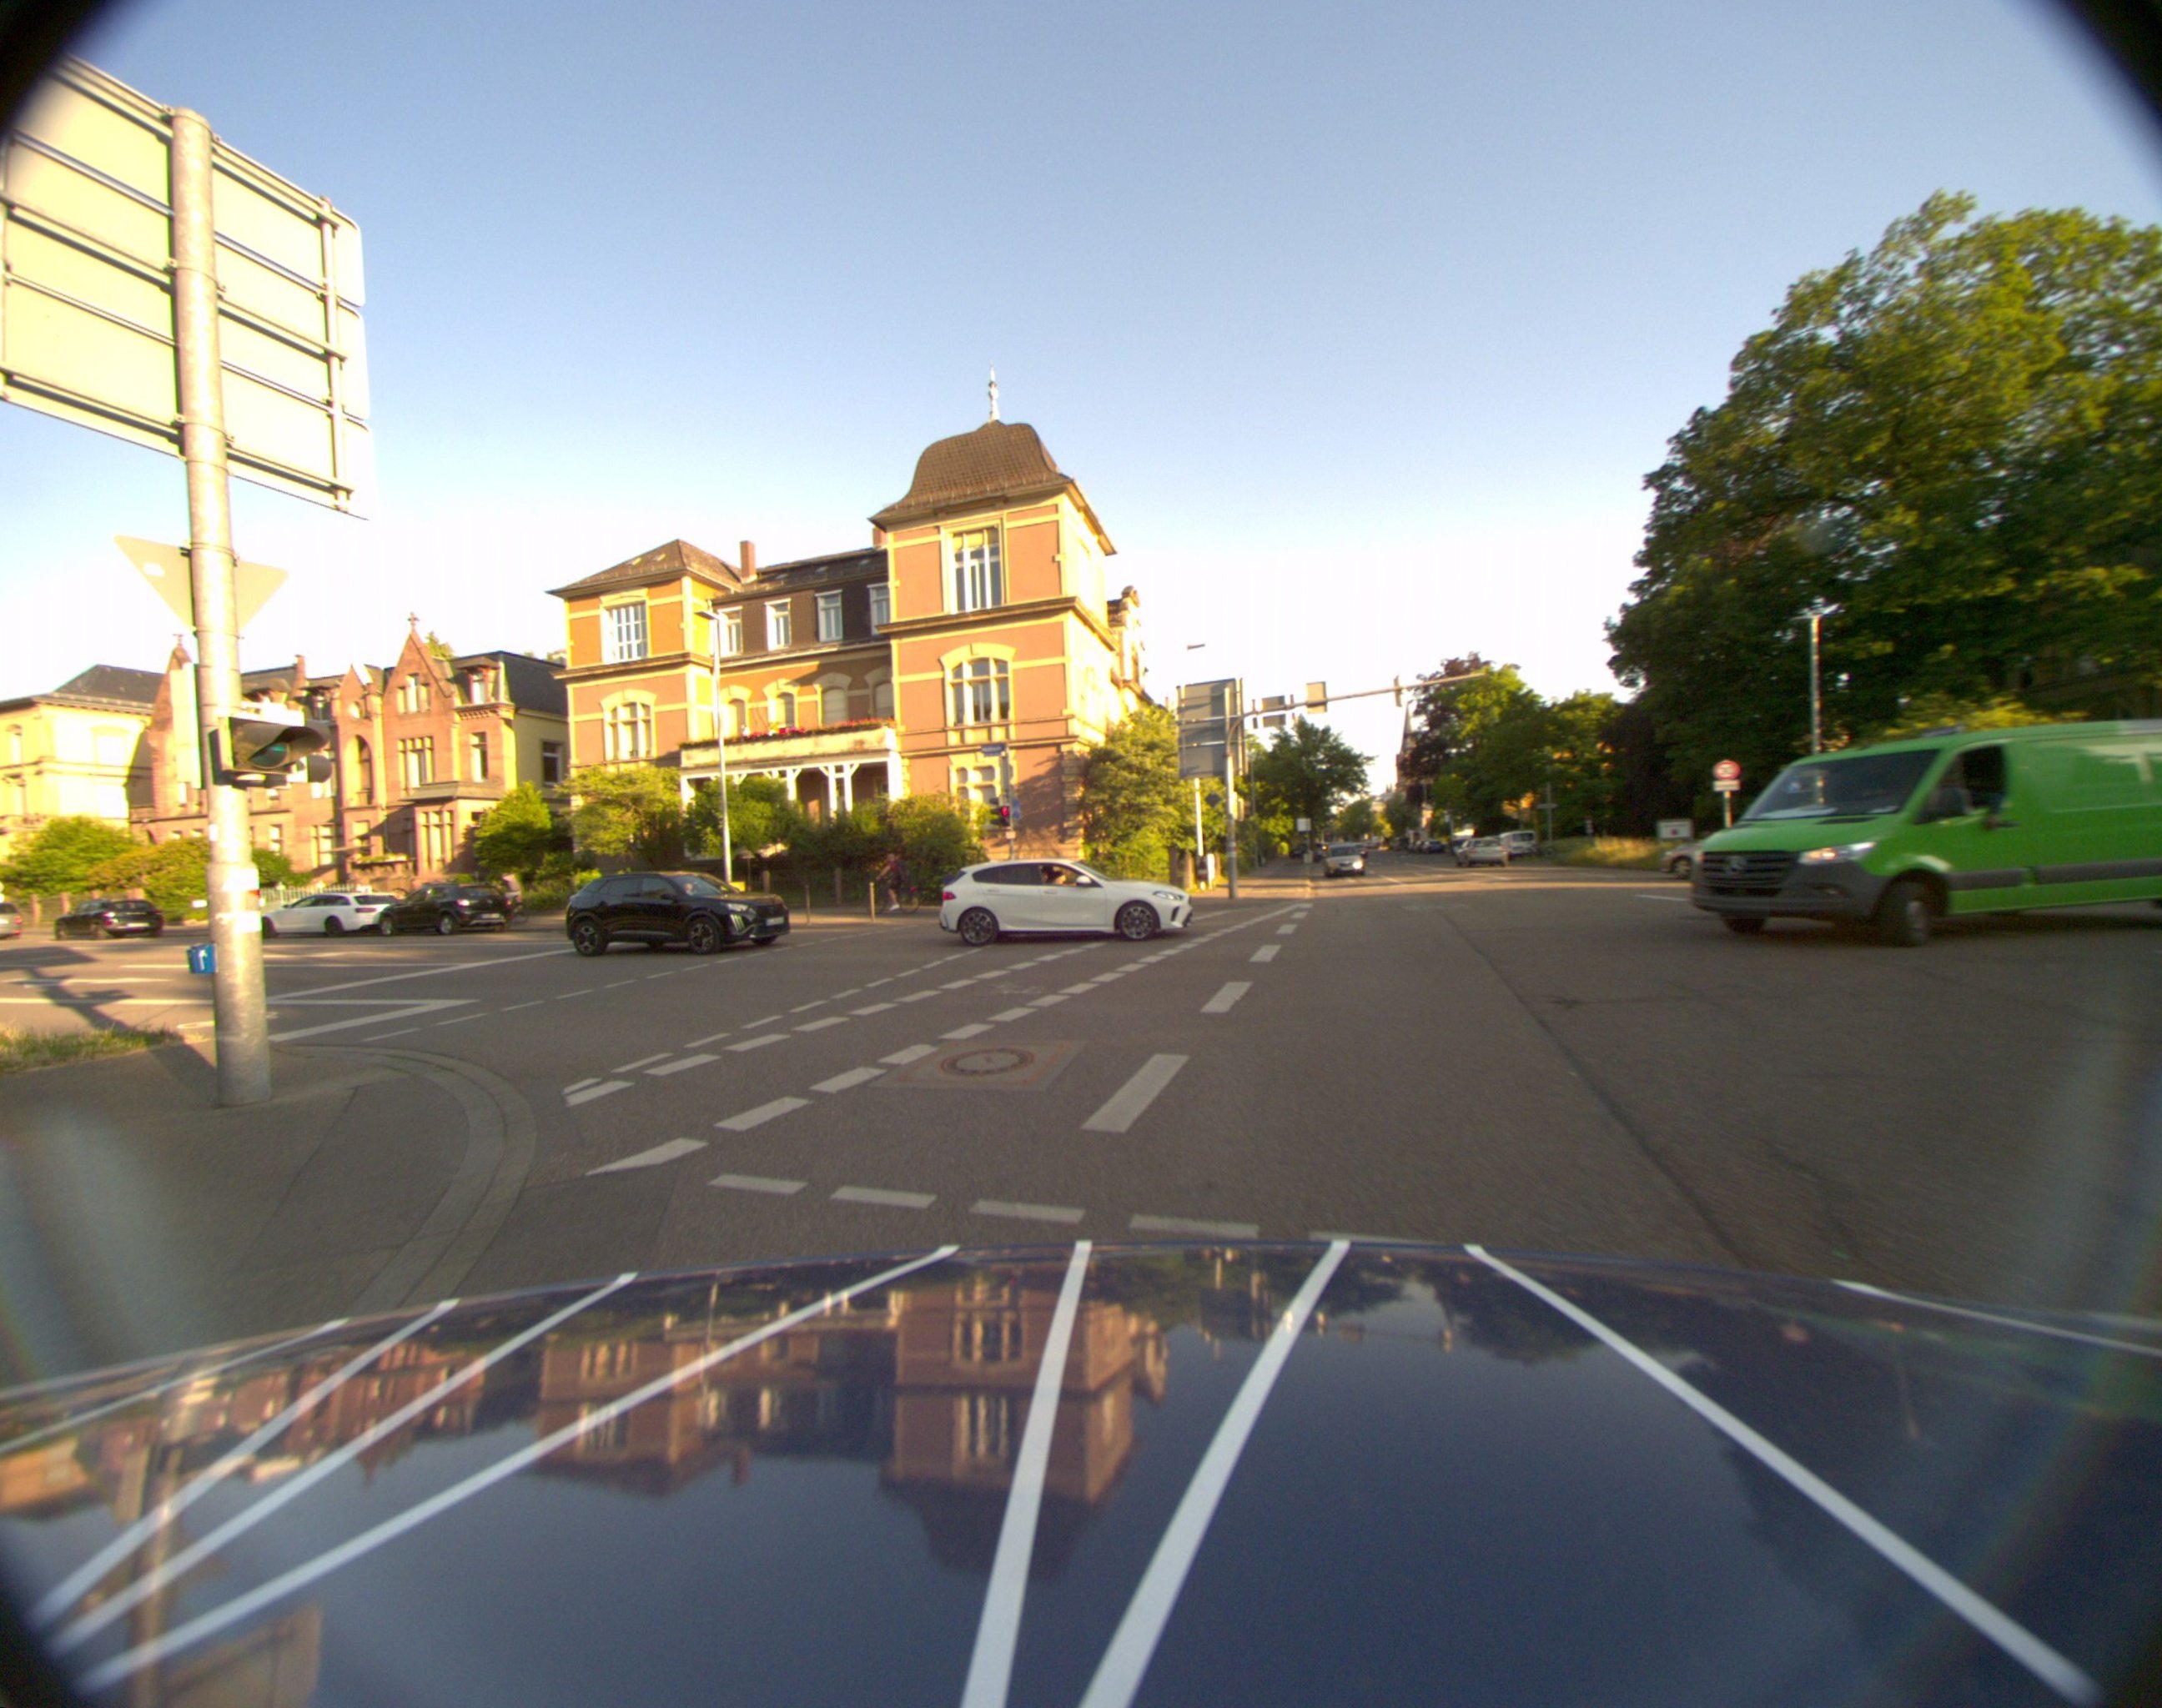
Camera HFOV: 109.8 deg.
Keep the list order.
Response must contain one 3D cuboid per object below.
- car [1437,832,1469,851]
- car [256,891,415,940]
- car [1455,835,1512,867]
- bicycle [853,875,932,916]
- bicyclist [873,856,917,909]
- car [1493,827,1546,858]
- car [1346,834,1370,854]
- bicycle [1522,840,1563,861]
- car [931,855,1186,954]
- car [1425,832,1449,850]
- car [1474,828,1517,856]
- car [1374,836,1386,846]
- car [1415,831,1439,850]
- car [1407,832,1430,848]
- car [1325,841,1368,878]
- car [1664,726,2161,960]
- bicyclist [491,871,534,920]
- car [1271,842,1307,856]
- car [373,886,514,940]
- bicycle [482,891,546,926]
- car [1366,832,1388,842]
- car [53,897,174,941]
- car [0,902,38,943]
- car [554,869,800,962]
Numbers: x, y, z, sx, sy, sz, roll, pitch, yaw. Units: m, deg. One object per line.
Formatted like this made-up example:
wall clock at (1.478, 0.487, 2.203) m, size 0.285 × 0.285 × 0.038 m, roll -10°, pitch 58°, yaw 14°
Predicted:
car at (33.628, -1.127, 68.781) m, size 1.934 × 1.633 × 4.005 m, roll -3°, pitch 0°, yaw 18°
car at (-24.336, 2.005, 24.826) m, size 4.424 × 1.434 × 1.612 m, roll -2°, pitch -2°, yaw 14°
car at (19.580, -0.156, 37.109) m, size 1.732 × 1.400 × 4.145 m, roll -3°, pitch 0°, yaw 18°
bicycle at (-5.593, 1.239, 22.549) m, size 2.164 × 1.117 × 0.689 m, roll -2°, pitch 2°, yaw 16°
bicyclist at (-5.510, 0.848, 22.525) m, size 0.954 × 1.504 × 0.686 m, roll -3°, pitch 2°, yaw 16°
car at (27.783, -0.734, 48.286) m, size 1.859 × 1.835 × 4.125 m, roll -3°, pitch 0°, yaw 16°
car at (26.622, -0.950, 73.088) m, size 1.996 × 1.783 × 4.005 m, roll -2°, pitch 0°, yaw 19°
bicycle at (26.665, -0.214, 43.916) m, size 1.873 × 1.150 × 0.754 m, roll -2°, pitch 2°, yaw 21°
car at (-0.299, 0.845, 13.353) m, size 4.183 × 1.457 × 1.758 m, roll -3°, pitch 0°, yaw 7°
car at (38.123, -1.402, 81.442) m, size 1.796 × 1.718 × 4.004 m, roll -2°, pitch 2°, yaw 18°
car at (29.464, -0.872, 54.133) m, size 1.859 × 1.835 × 4.192 m, roll -3°, pitch 0°, yaw 17°
car at (54.281, -2.401, 138.077) m, size 1.674 × 1.718 × 3.641 m, roll -3°, pitch 0°, yaw 18°
car at (39.509, -1.566, 86.887) m, size 1.996 × 2.002 × 4.003 m, roll -2°, pitch 2°, yaw 17°
car at (40.939, -1.721, 92.216) m, size 1.996 × 1.806 × 4.003 m, roll -2°, pitch 2°, yaw 17°
car at (12.344, 0.221, 35.511) m, size 1.688 × 1.501 × 3.705 m, roll -5°, pitch 0°, yaw 18°
car at (10.590, -0.185, 9.003) m, size 5.938 × 2.264 × 2.044 m, roll -3°, pitch 0°, yaw -4°
bicyclist at (-19.430, 1.418, 25.979) m, size 0.913 × 1.624 × 0.653 m, roll -2°, pitch 3°, yaw 17°
car at (24.458, -0.621, 89.451) m, size 1.811 × 1.500 × 3.839 m, roll -4°, pitch 2°, yaw -34°
car at (-19.865, 1.836, 23.704) m, size 3.715 × 1.525 × 1.636 m, roll -3°, pitch -2°, yaw 18°
bicycle at (-19.378, 1.876, 25.984) m, size 1.899 × 1.083 × 0.661 m, roll -2°, pitch 3°, yaw 16°
car at (55.553, -3.140, 142.586) m, size 3.751 × 1.608 × 1.825 m, roll -3°, pitch 1°, yaw 19°
car at (-36.241, 2.439, 28.478) m, size 3.559 × 1.436 × 1.635 m, roll -3°, pitch 0°, yaw 18°
car at (-45.030, 2.840, 30.938) m, size 3.746 × 1.579 × 1.719 m, roll -3°, pitch 0°, yaw 14°
car at (-7.626, 1.157, 14.425) m, size 3.992 × 1.527 × 1.685 m, roll -3°, pitch 0°, yaw 15°
